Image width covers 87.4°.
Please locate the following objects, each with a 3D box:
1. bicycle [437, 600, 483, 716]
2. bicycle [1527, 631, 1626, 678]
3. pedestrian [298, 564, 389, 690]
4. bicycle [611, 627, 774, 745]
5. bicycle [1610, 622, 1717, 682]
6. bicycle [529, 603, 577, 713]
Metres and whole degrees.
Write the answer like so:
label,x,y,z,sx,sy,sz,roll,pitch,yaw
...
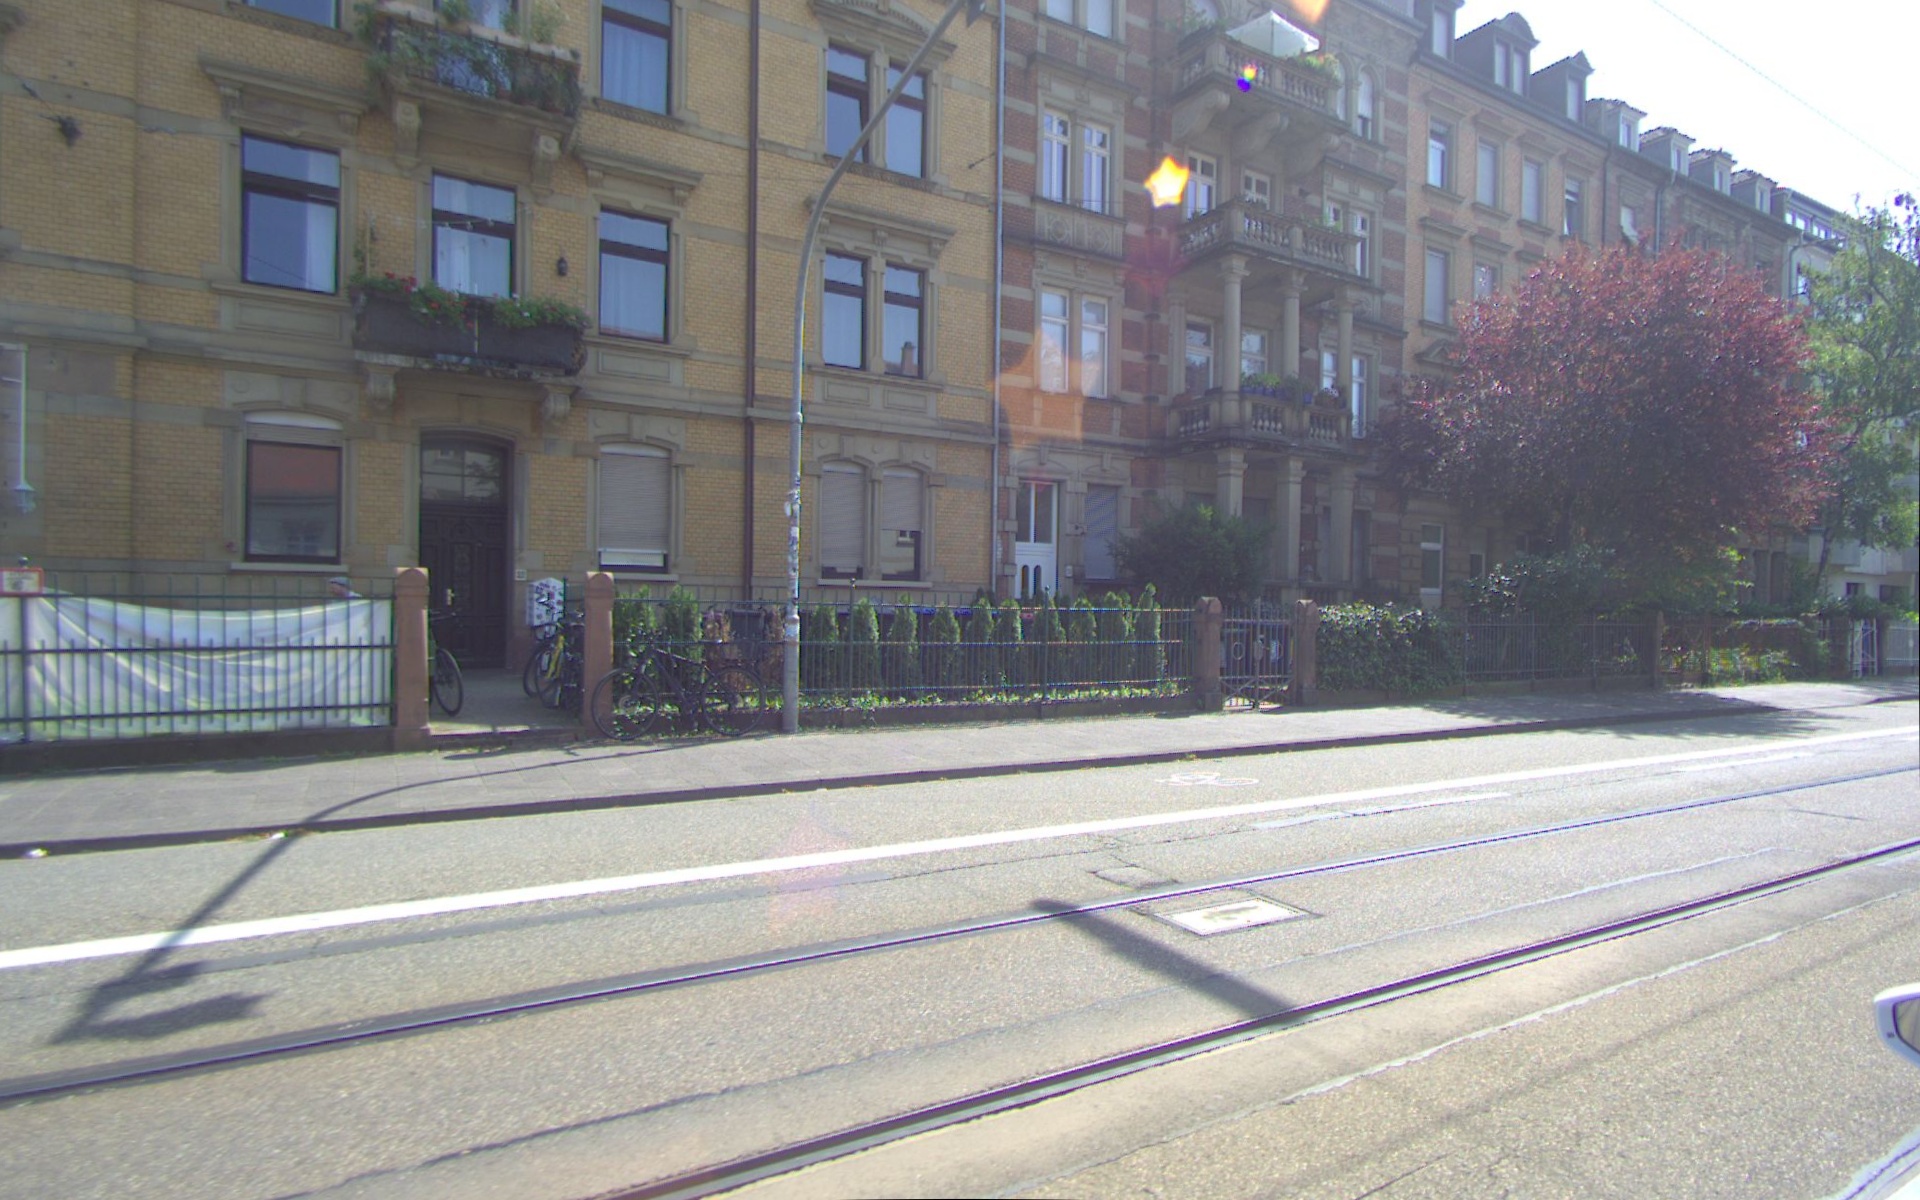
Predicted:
label,x,y,z,sx,sy,sz,roll,pitch,yaw
bicycle,-5.287,0.573,10.650,0.386,1.126,1.558,1,0,-25
bicycle,13.857,1.200,22.597,1.791,0.923,0.713,3,1,40
pedestrian,-7.853,0.333,12.787,0.878,1.531,0.860,1,0,-38
bicycle,-2.696,0.839,10.203,1.551,1.113,0.388,1,0,-33
bicycle,15.689,1.142,22.457,0.707,1.198,1.805,1,1,-27
bicycle,-4.471,0.595,11.000,0.386,1.113,1.558,1,0,-25
